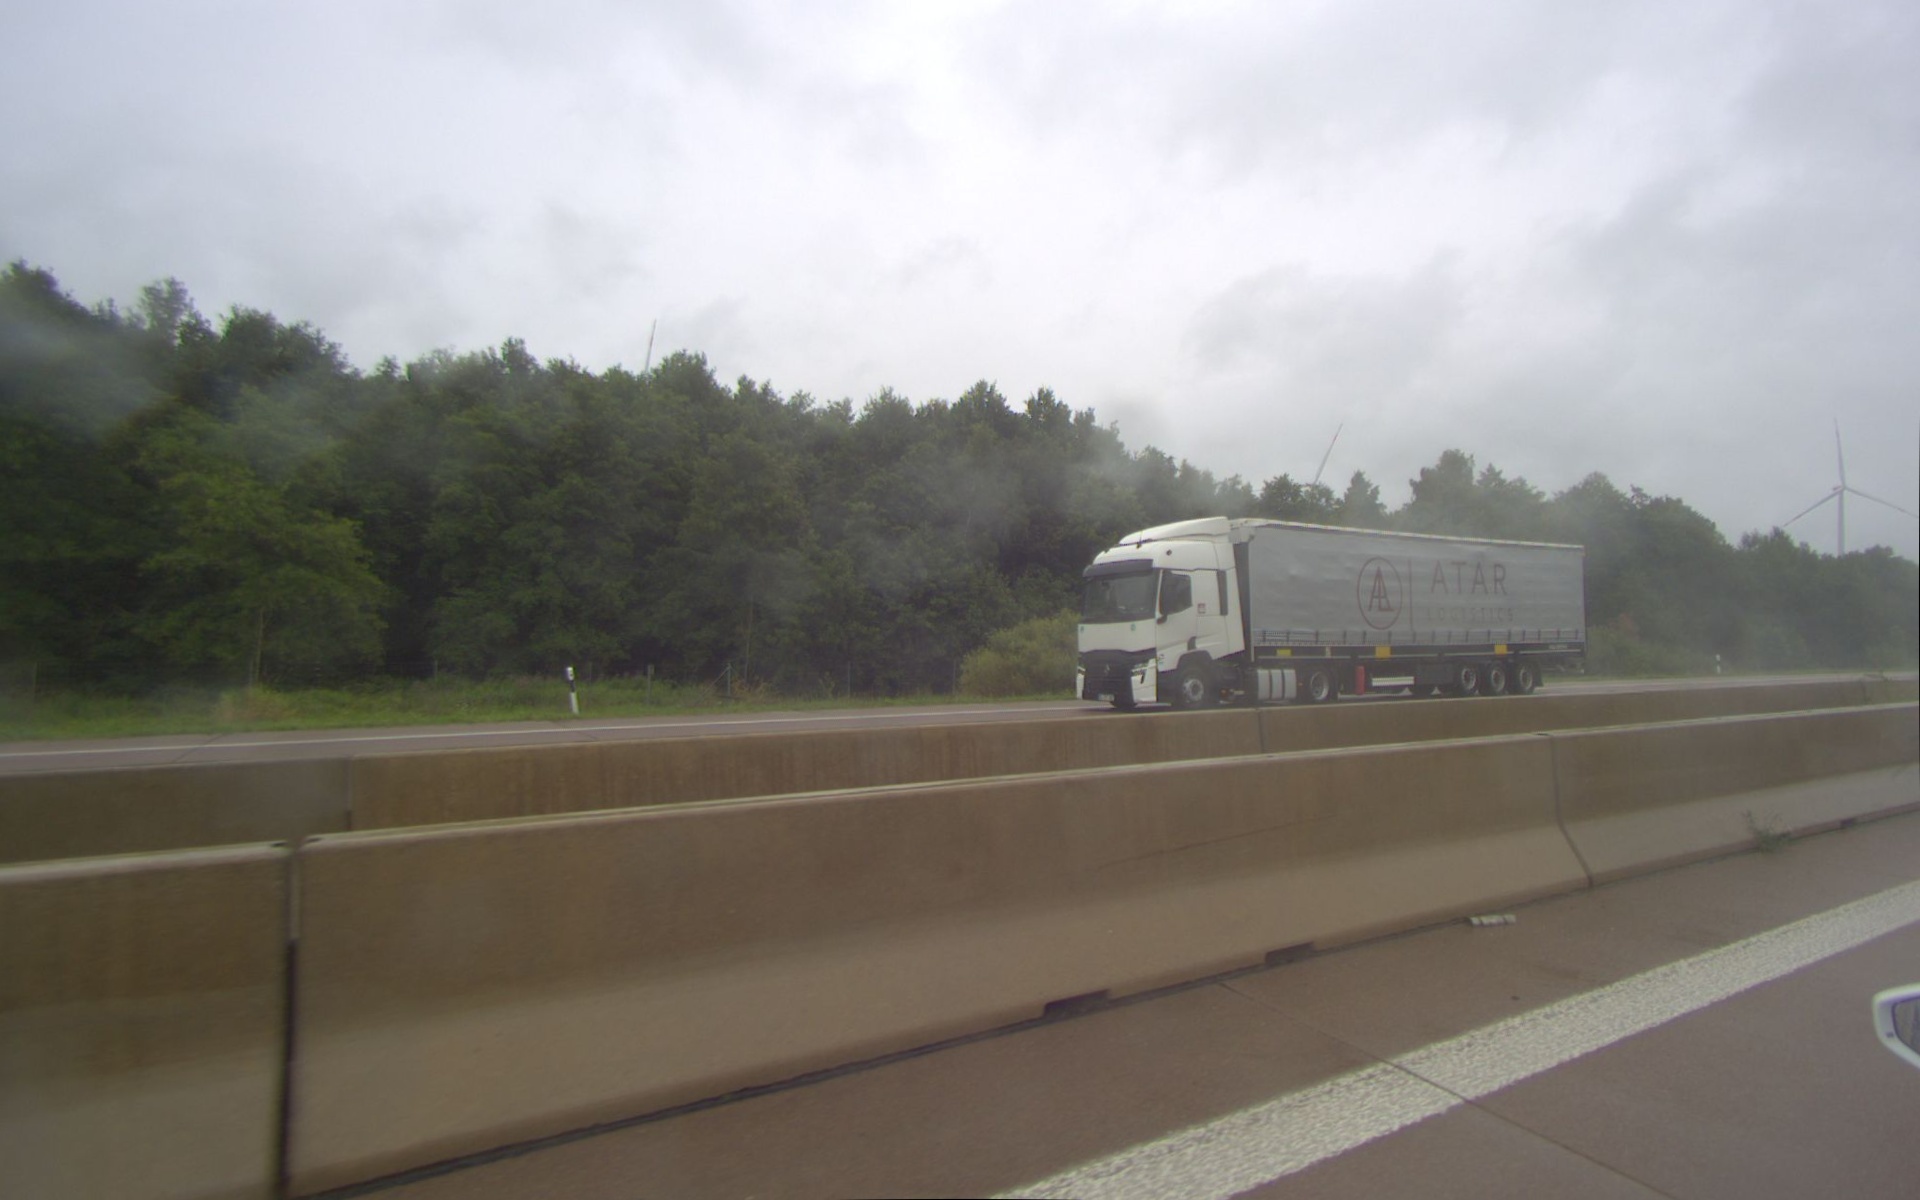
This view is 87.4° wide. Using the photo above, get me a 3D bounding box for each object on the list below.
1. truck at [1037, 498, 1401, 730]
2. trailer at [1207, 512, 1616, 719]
[{"bbox_3d":[5.956,0.355,22.703,7.857,4.418,3.401,2,0,-31],"label":"truck"},{"bbox_3d":[12.290,0.490,26.564,12.303,4.525,3.412,2,0,-31],"label":"trailer"}]
